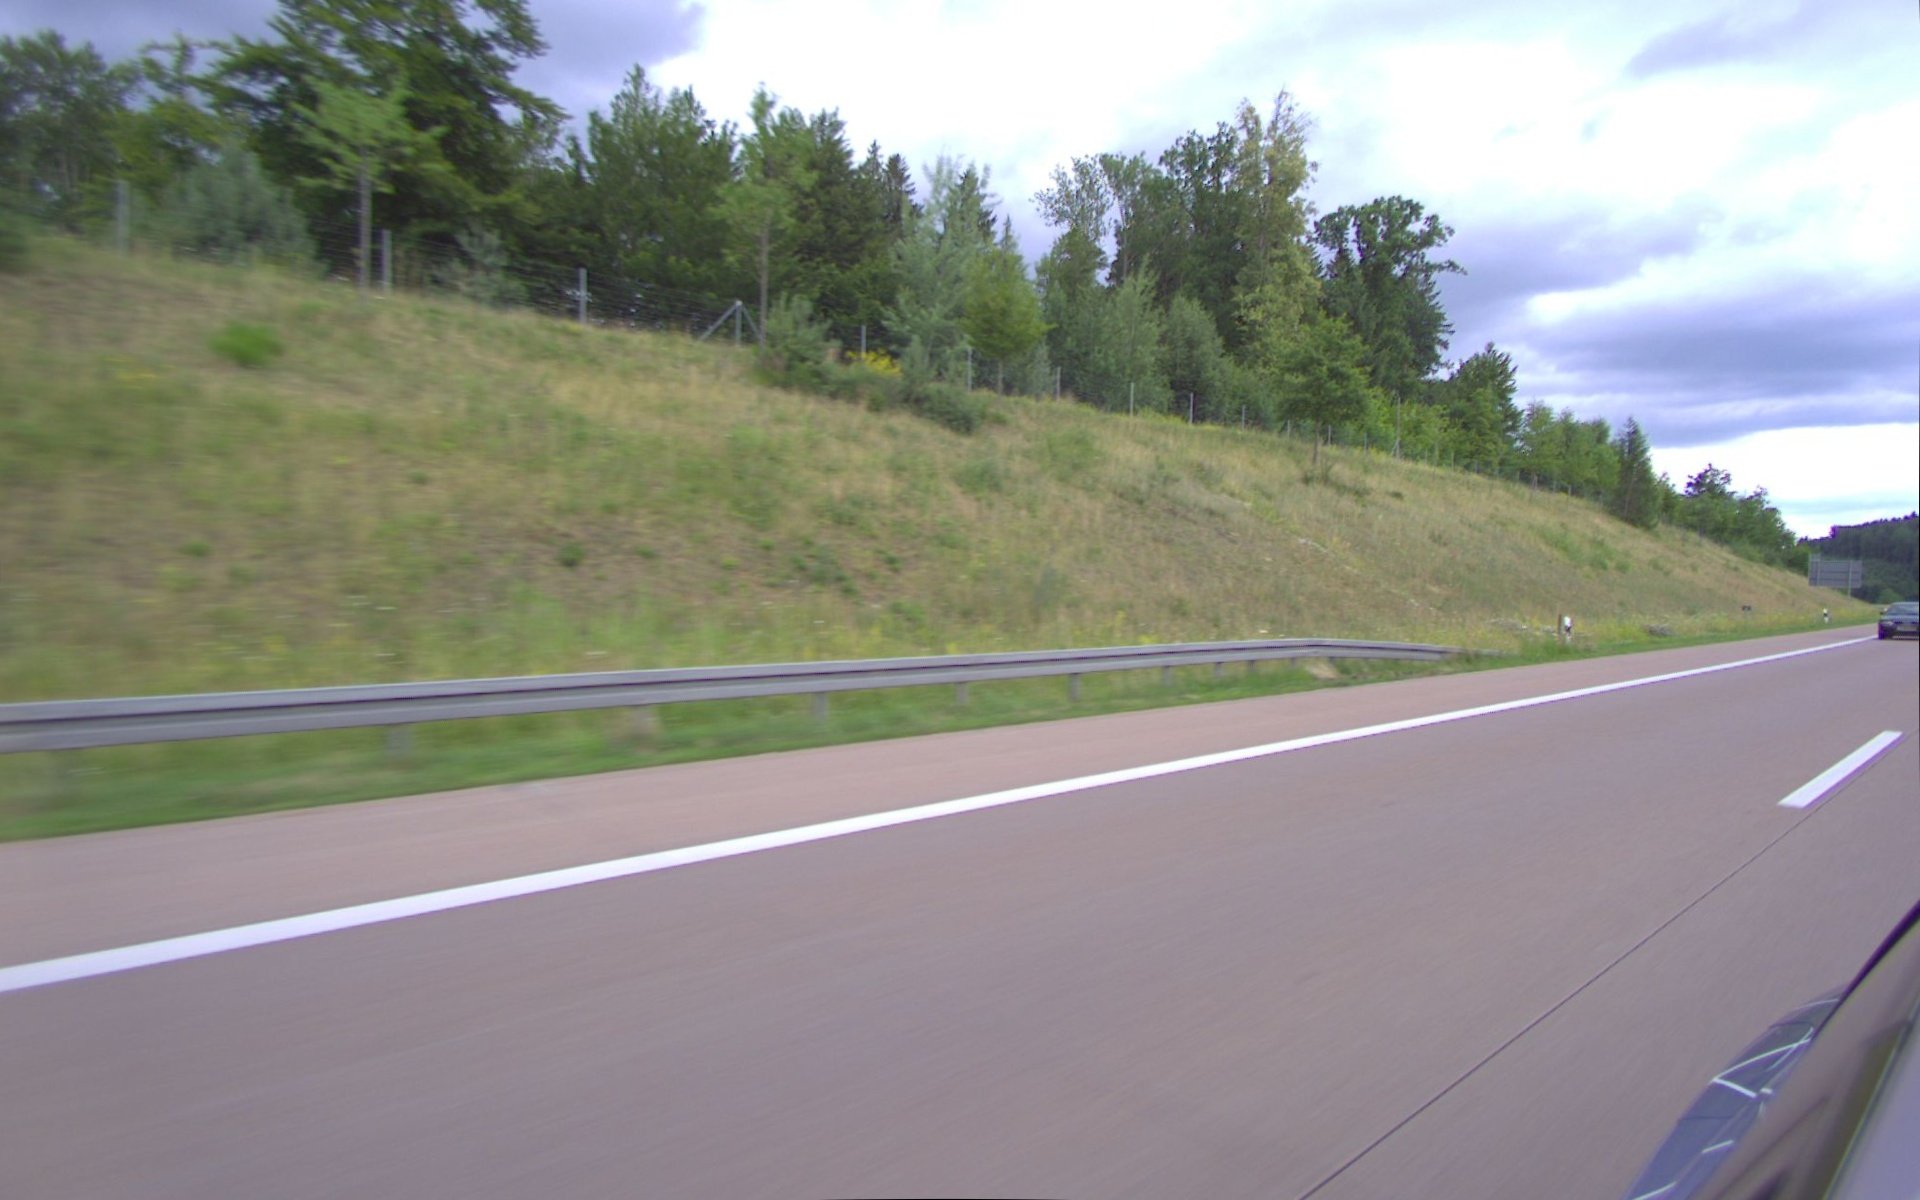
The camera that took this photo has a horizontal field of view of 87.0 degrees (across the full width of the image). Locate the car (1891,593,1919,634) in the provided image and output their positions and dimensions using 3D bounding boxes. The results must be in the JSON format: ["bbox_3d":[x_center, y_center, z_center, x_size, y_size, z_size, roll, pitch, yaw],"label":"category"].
[{"bbox_3d":[36.975,0.502,38.723,4.162,1.420,1.674,-1,2,-43],"label":"car"}]
